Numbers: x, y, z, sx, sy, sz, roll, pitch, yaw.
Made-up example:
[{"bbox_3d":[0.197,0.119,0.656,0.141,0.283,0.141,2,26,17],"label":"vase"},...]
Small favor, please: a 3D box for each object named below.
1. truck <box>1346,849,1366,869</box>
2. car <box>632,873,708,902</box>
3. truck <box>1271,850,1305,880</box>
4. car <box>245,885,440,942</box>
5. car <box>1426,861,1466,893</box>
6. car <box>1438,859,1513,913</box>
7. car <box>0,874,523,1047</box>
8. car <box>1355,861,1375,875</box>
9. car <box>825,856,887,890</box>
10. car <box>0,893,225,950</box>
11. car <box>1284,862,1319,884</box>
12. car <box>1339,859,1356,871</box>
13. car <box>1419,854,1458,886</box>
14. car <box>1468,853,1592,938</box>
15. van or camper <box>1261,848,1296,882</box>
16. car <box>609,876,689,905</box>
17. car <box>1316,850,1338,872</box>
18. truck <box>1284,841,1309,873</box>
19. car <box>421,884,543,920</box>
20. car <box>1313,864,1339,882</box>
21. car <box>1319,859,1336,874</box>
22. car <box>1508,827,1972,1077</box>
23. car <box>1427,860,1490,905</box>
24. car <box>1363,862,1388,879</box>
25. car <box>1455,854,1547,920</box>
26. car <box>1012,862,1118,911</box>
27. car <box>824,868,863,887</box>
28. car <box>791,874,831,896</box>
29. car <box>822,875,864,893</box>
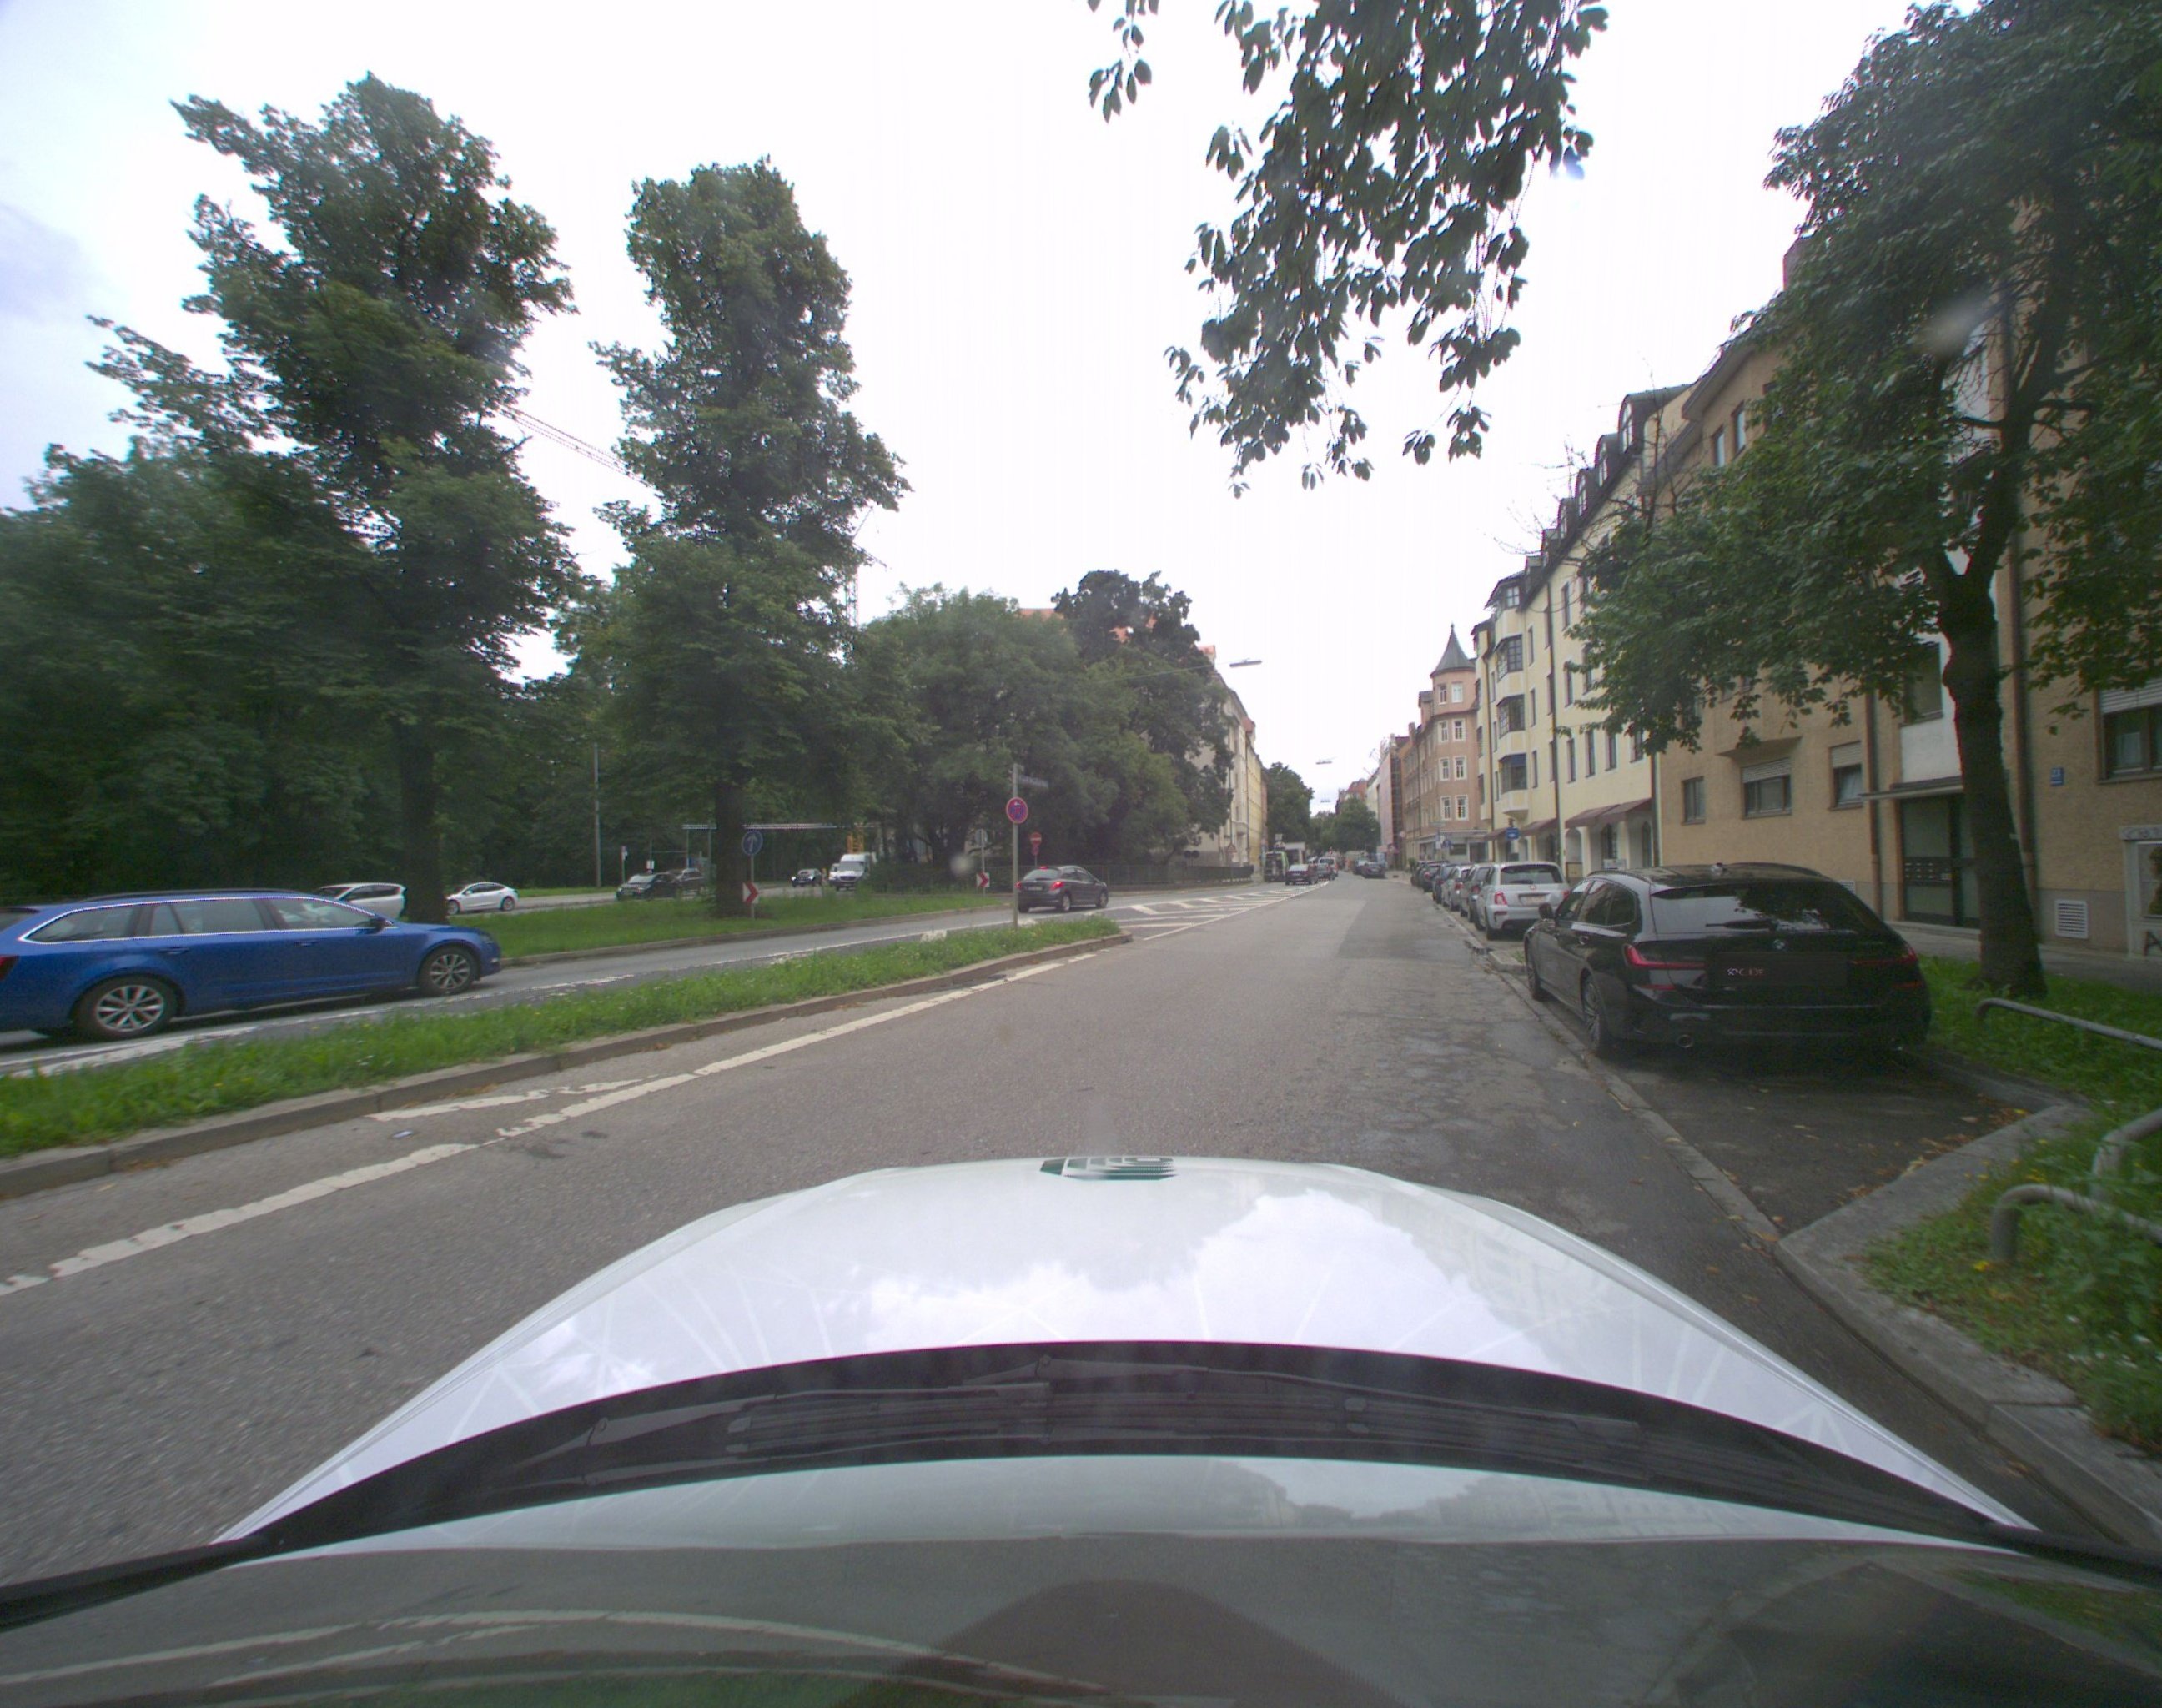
[{"bbox_3d":[40.941,0.753,121.286,2.473,2.973,5.350,-1,-1,16],"label":"truck"},{"bbox_3d":[-26.519,2.136,52.777,1.982,1.718,4.659,-3,-1,8],"label":"car"},{"bbox_3d":[21.017,1.056,82.427,2.751,2.873,7.235,-2,0,18],"label":"truck"},{"bbox_3d":[-22.514,1.761,25.090,1.817,1.446,4.244,-3,-1,7],"label":"car"},{"bbox_3d":[18.817,1.174,42.053,1.741,1.496,3.844,-3,-2,23],"label":"car"},{"bbox_3d":[12.352,0.967,25.708,1.676,1.496,4.456,-3,-2,21],"label":"car"},{"bbox_3d":[-9.572,1.018,9.449,1.969,1.454,4.761,-2,-1,25],"label":"car"},{"bbox_3d":[31.015,1.517,89.021,1.830,1.429,4.324,1,1,15],"label":"car"},{"bbox_3d":[-15.989,1.337,58.152,2.287,2.270,5.140,-2,-1,8],"label":"car"},{"bbox_3d":[-30.370,2.052,25.583,1.982,1.446,4.434,-3,-1,8],"label":"car"},{"bbox_3d":[15.936,1.349,58.675,1.973,1.429,4.930,-2,0,20],"label":"car"},{"bbox_3d":[34.660,1.412,105.986,1.974,1.429,4.159,-2,0,17],"label":"car"},{"bbox_3d":[20.537,0.914,46.893,1.741,1.679,4.730,-3,-2,20],"label":"car"},{"bbox_3d":[8.998,0.793,16.617,1.614,1.496,3.840,-3,-2,21],"label":"car"},{"bbox_3d":[17.621,0.920,72.421,2.580,2.840,6.213,-2,0,17],"label":"van or camper"},{"bbox_3d":[-23.915,1.976,45.248,1.880,1.446,4.042,-2,-1,8],"label":"car"},{"bbox_3d":[24.491,0.702,80.985,1.974,2.075,4.159,-2,0,17],"label":"car"},{"bbox_3d":[27.715,0.431,104.742,2.990,3.952,7.023,-1,-1,15],"label":"truck"},{"bbox_3d":[-27.874,2.211,38.112,1.982,1.446,4.434,-3,-1,8],"label":"car"},{"bbox_3d":[20.847,1.583,69.183,1.974,1.429,4.159,-2,0,17],"label":"car"},{"bbox_3d":[33.281,1.677,110.029,1.978,2.014,4.017,-2,-1,16],"label":"car"},{"bbox_3d":[5.186,0.679,7.251,1.777,1.497,4.398,-5,-2,20],"label":"car"},{"bbox_3d":[14.009,1.009,30.422,1.741,1.496,4.510,-3,-2,21],"label":"car"},{"bbox_3d":[26.963,1.465,74.625,1.830,1.429,4.201,1,1,15],"label":"car"},{"bbox_3d":[10.749,0.805,21.077,1.614,1.496,3.806,-3,-2,21],"label":"car"},{"bbox_3d":[-0.431,1.005,26.445,1.742,1.461,4.097,-2,-1,25],"label":"car"},{"bbox_3d":[-19.881,1.967,68.258,1.885,1.446,4.299,-2,-1,1],"label":"car"},{"bbox_3d":[-23.692,2.694,71.605,1.737,1.874,4.007,-2,-1,6],"label":"car"},{"bbox_3d":[-21.347,2.677,73.114,1.880,1.446,4.398,-2,-1,8],"label":"car"}]
